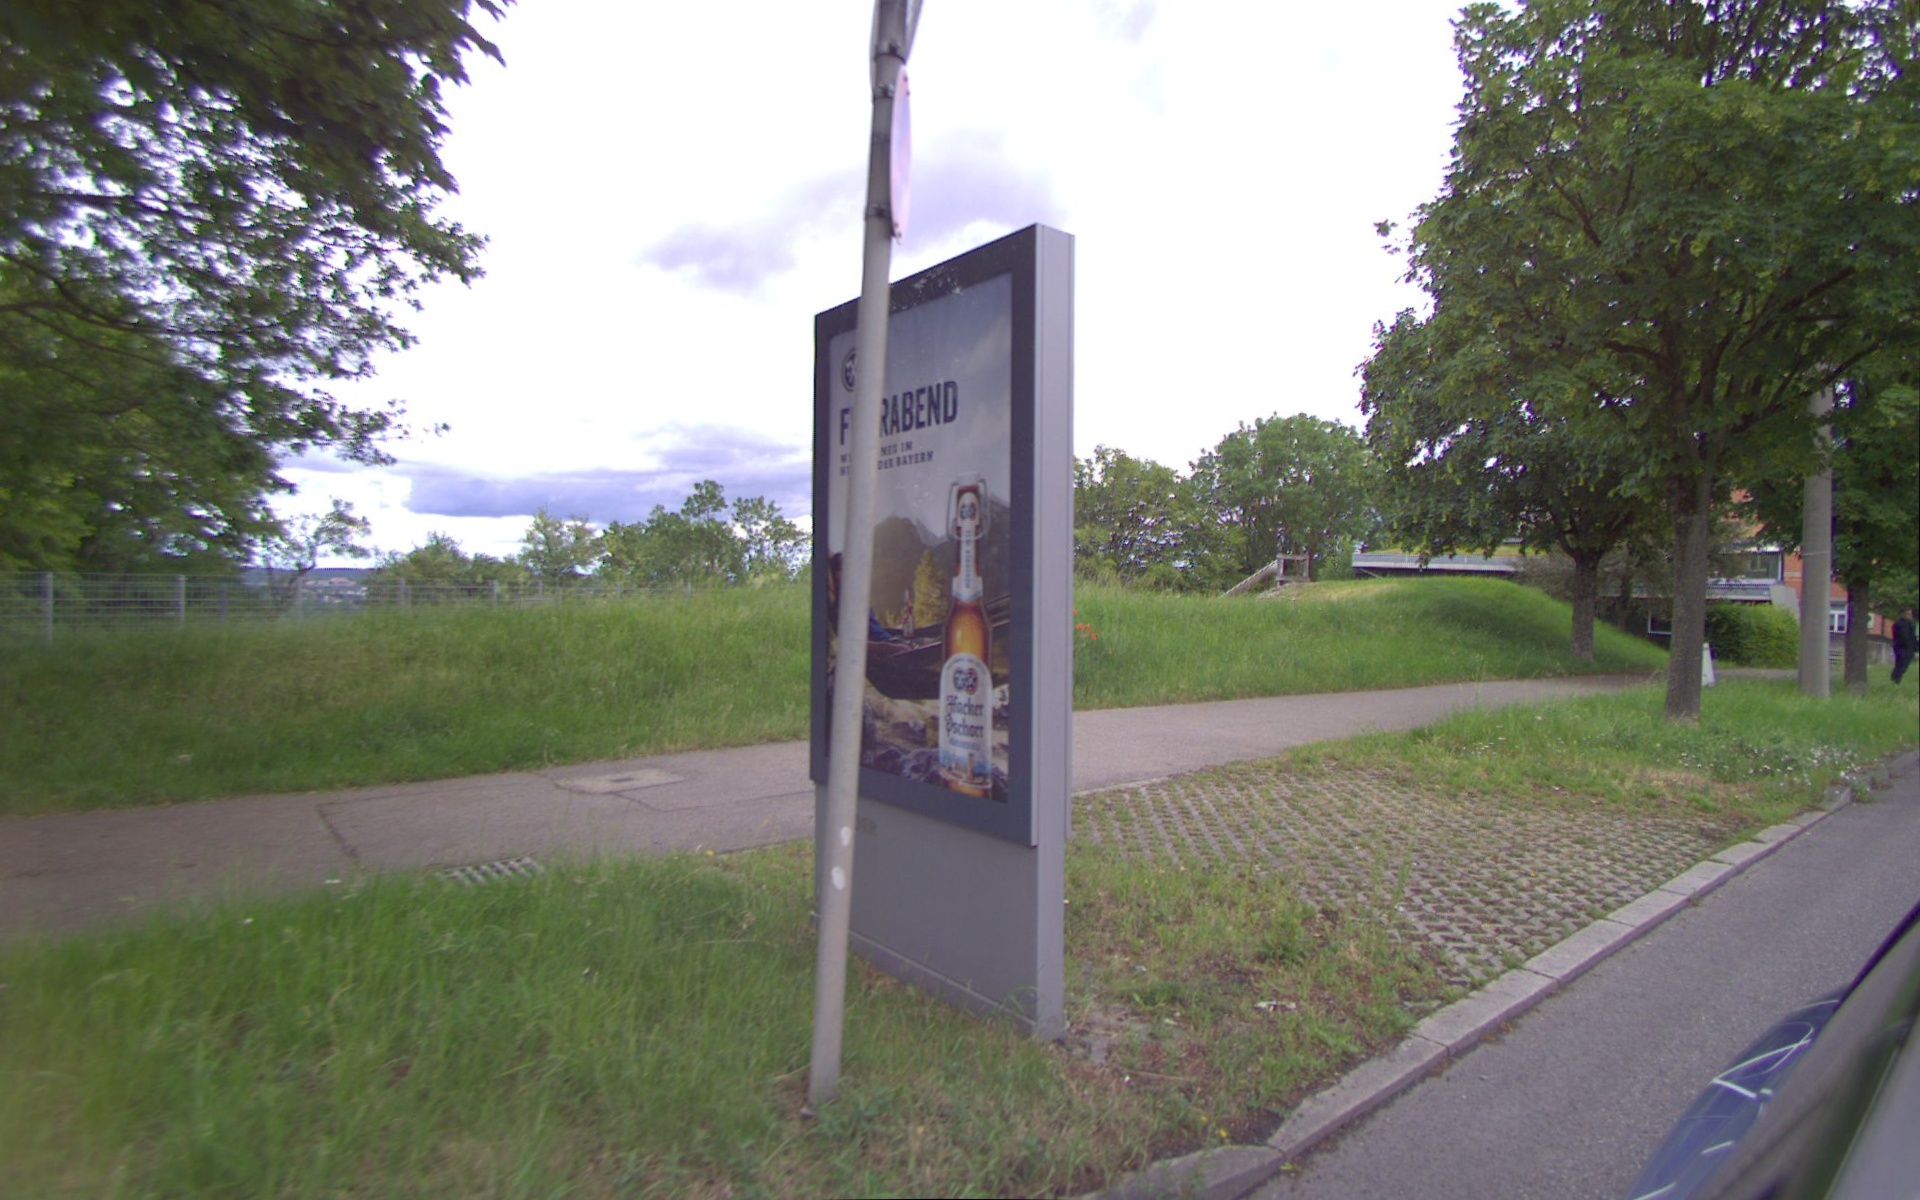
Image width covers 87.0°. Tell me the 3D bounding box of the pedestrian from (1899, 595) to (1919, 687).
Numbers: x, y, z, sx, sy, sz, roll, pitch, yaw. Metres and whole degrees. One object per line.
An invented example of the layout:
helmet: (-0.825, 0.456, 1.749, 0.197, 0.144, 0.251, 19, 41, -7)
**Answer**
pedestrian: (19.905, 0.850, 20.945, 0.642, 1.879, 0.662, 1, -1, 44)
